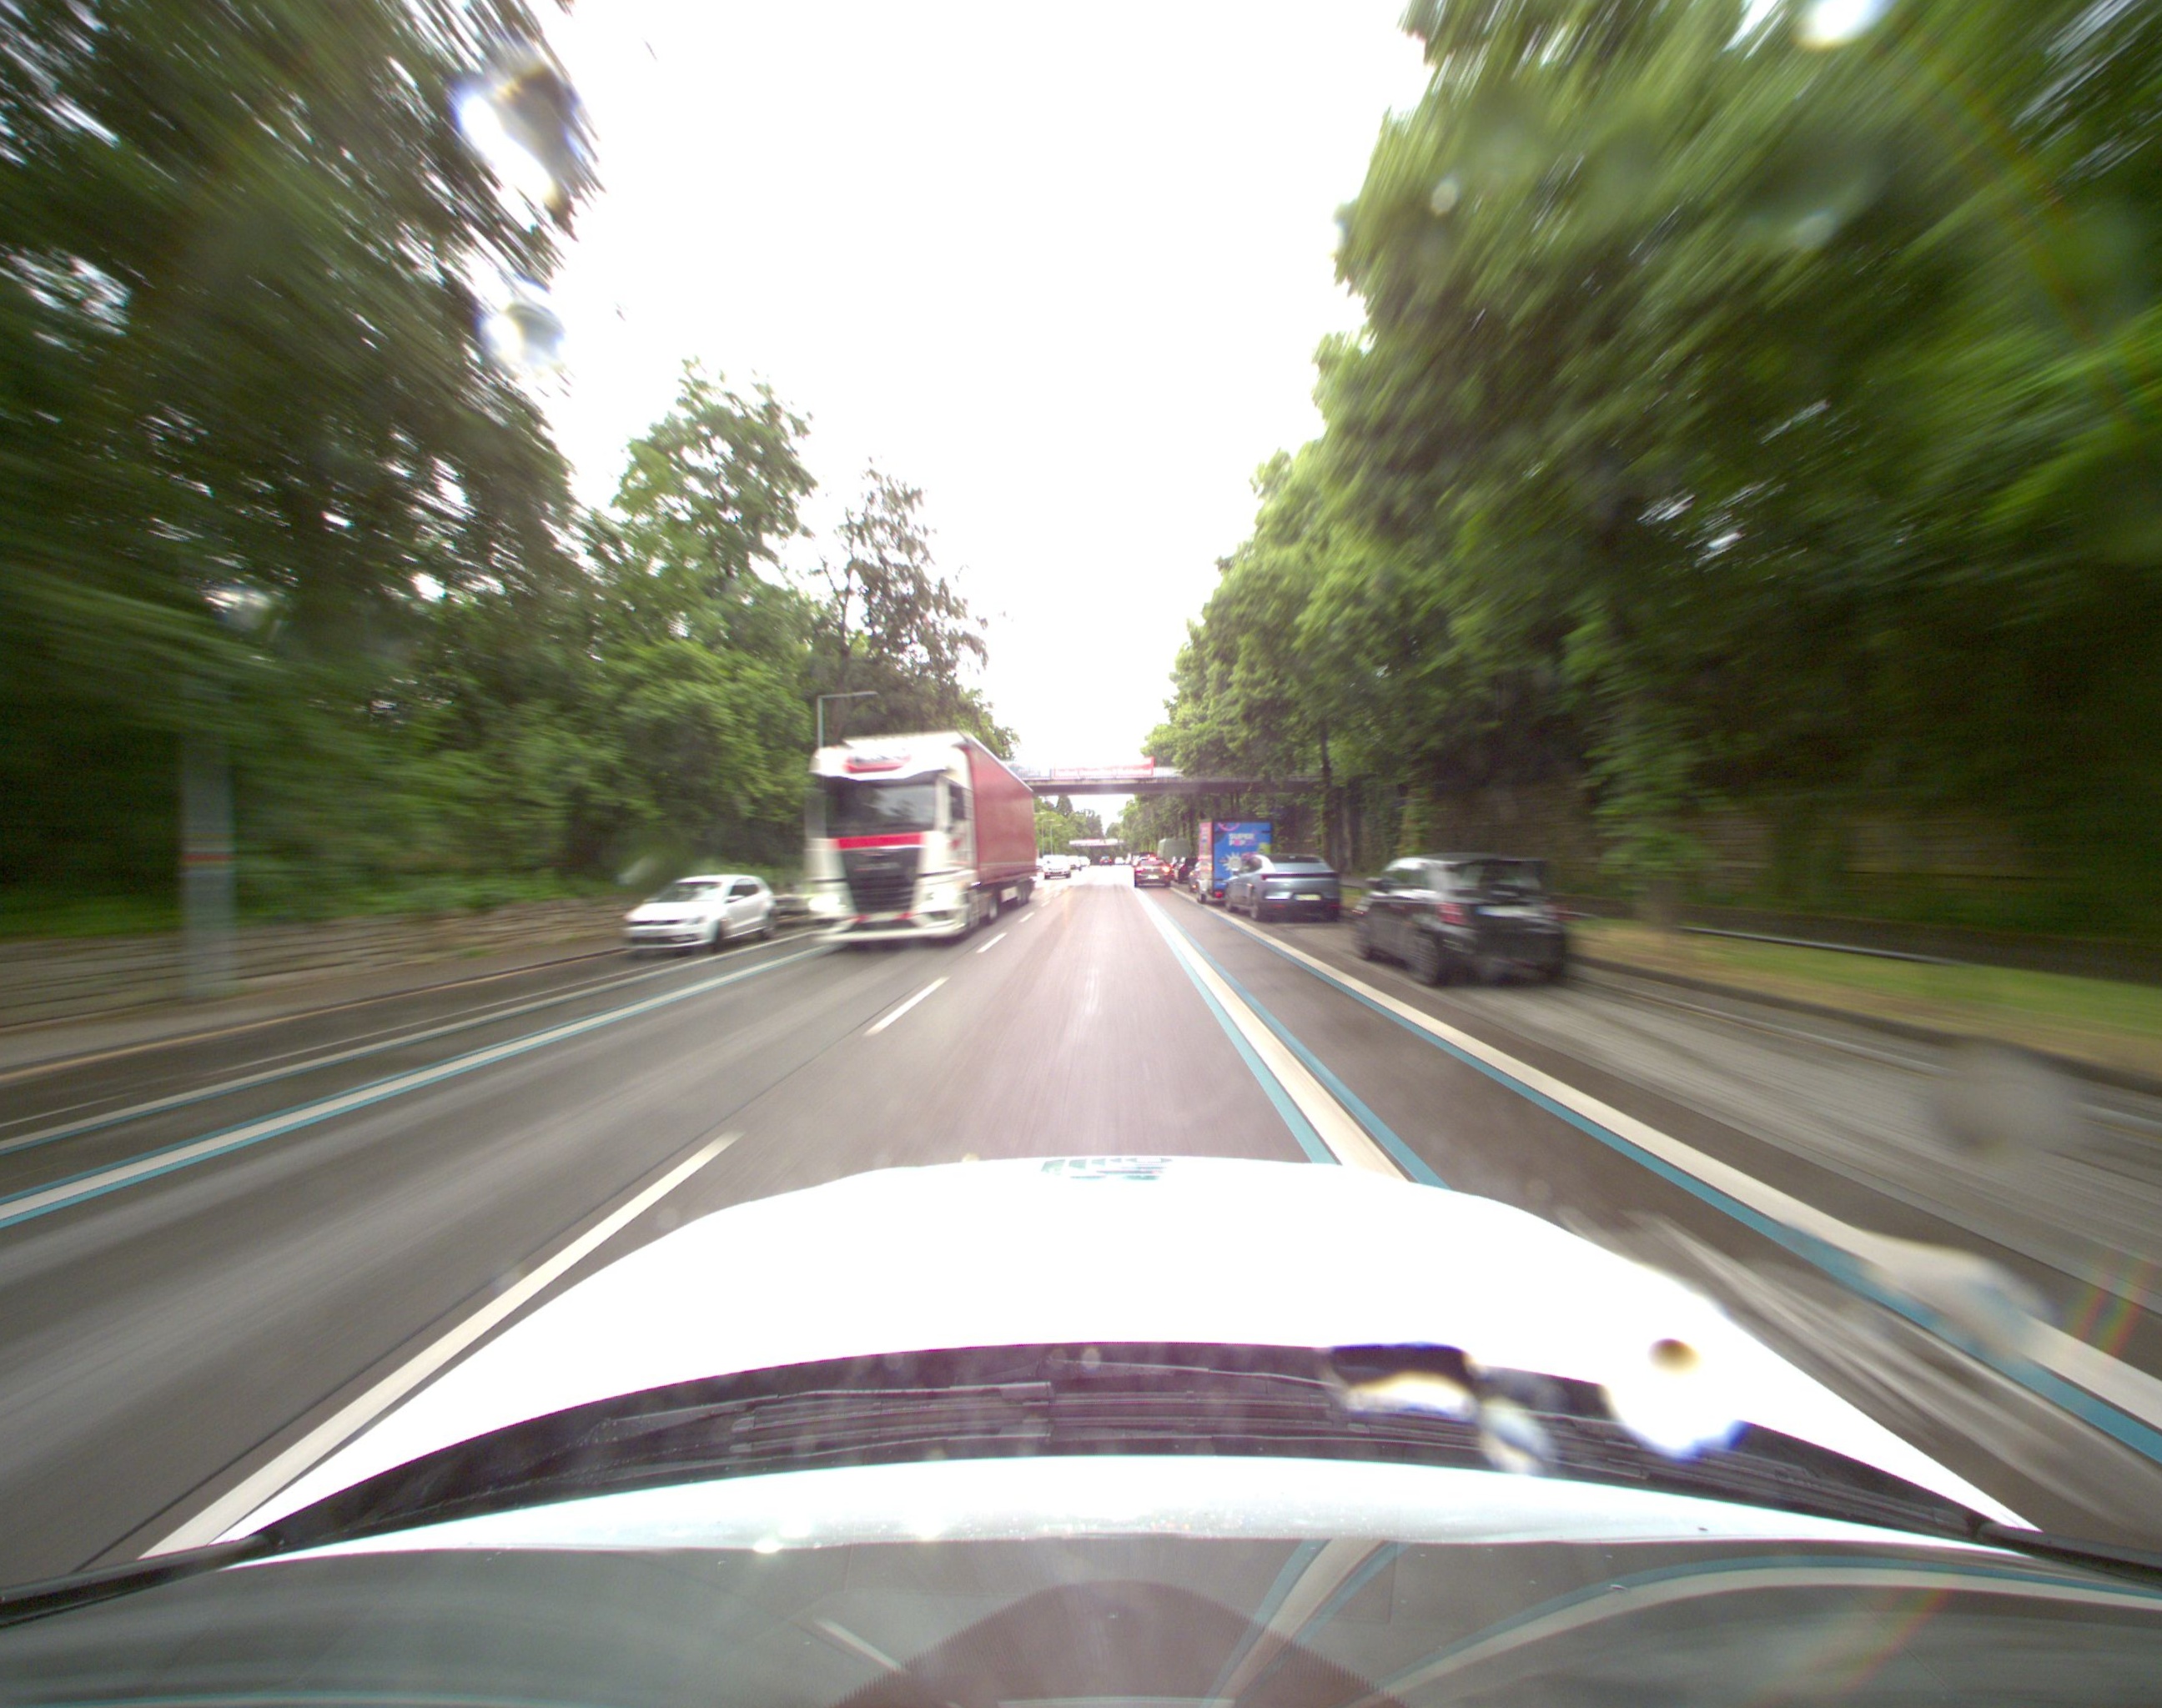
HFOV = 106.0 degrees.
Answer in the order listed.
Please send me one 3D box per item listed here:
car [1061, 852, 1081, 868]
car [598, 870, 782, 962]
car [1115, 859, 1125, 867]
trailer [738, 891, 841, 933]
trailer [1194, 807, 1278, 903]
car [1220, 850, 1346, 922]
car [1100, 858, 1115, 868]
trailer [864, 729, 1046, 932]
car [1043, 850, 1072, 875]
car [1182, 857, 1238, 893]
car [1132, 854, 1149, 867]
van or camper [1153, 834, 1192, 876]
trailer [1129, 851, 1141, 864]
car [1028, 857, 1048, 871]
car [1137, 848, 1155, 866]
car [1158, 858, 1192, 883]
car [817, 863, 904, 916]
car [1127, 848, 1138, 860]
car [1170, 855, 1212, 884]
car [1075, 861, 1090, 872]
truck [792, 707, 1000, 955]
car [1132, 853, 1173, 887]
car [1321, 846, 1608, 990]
[{"bbox_3d":[-1.086,0.636,87.957,1.959,1.627,4.321,-2,0,1],"label":"car"},{"bbox_3d":[-7.756,1.152,16.635,1.783,1.482,3.982,-2,0,0],"label":"car"},{"bbox_3d":[7.553,1.719,156.743,1.725,1.583,4.037,-2,0,1],"label":"car"},{"bbox_3d":[-7.707,1.513,21.833,1.537,0.819,3.305,-2,0,0],"label":"trailer"},{"bbox_3d":[4.818,0.028,25.834,1.945,2.758,4.009,-1,0,2],"label":"trailer"},{"bbox_3d":[4.796,0.688,20.062,1.894,1.547,4.754,0,0,-1],"label":"car"},{"bbox_3d":[4.152,1.465,127.742,2.133,1.492,4.497,-1,0,0],"label":"car"},{"bbox_3d":[-3.031,-0.519,24.254,2.677,4.259,12.775,-4,0,2],"label":"trailer"},{"bbox_3d":[-1.707,0.590,59.446,1.827,1.666,4.182,-2,0,1],"label":"car"},{"bbox_3d":[5.084,0.797,32.453,1.579,1.353,3.861,0,0,-1],"label":"car"},{"bbox_3d":[7.413,0.805,101.250,1.783,1.543,4.889,0,0,0],"label":"car"},{"bbox_3d":[6.312,0.058,56.827,2.035,2.729,6.902,0,0,1],"label":"van or camper"},{"bbox_3d":[9.223,0.535,139.504,1.876,2.166,3.810,-2,0,2],"label":"trailer"},{"bbox_3d":[-4.955,1.175,94.579,2.071,1.482,4.671,-2,0,-1],"label":"car"},{"bbox_3d":[7.693,0.375,96.337,1.919,2.022,4.666,-1,0,2],"label":"car"},{"bbox_3d":[5.693,0.961,49.687,1.679,1.416,4.102,-1,0,2],"label":"car"},{"bbox_3d":[-7.265,1.118,27.221,1.826,1.477,4.038,-2,0,-1],"label":"car"},{"bbox_3d":[9.837,0.038,156.209,1.881,2.127,4.048,-2,0,3],"label":"car"},{"bbox_3d":[5.870,0.821,43.986,1.680,1.416,4.197,-2,0,0],"label":"car"},{"bbox_3d":[0.229,1.737,116.359,1.914,1.560,4.623,-1,0,2],"label":"car"},{"bbox_3d":[-3.387,-0.384,16.258,2.507,4.046,4.920,-4,0,3],"label":"truck"},{"bbox_3d":[3.448,0.744,39.699,1.811,1.508,4.142,-2,0,3],"label":"car"},{"bbox_3d":[4.825,0.696,11.103,1.819,1.503,4.572,-2,0,1],"label":"car"}]
